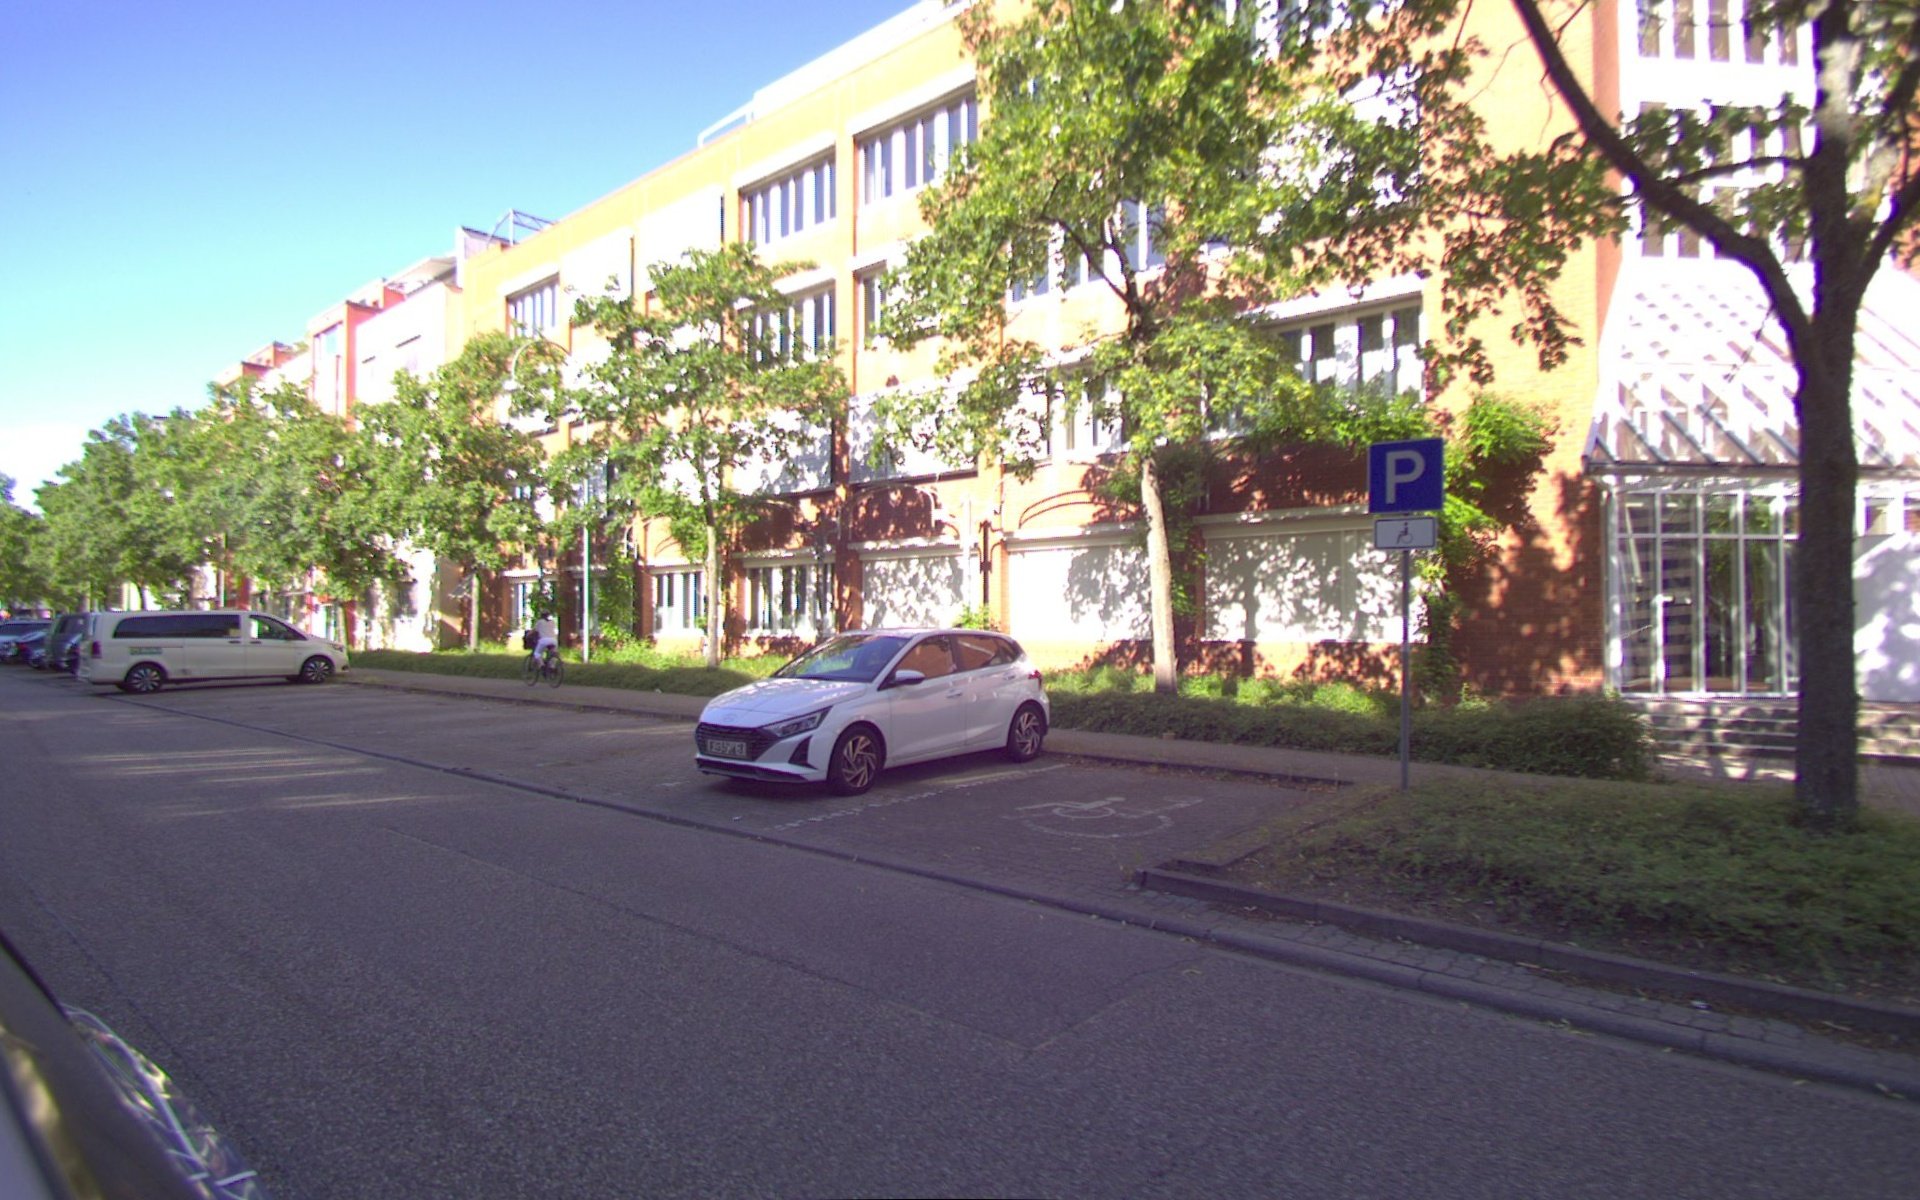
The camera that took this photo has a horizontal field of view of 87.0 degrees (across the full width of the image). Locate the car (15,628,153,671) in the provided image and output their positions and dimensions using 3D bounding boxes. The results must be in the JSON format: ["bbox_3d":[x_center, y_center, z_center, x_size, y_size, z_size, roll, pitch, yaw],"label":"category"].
[{"bbox_3d":[-32.710,1.802,37.847,1.723,1.438,3.689,-2,-1,39],"label":"car"}]

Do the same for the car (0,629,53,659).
[{"bbox_3d":[-48.066,2.201,50.649,1.873,1.458,3.692,-2,-1,37],"label":"car"}]

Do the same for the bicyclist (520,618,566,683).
[{"bbox_3d":[-9.021,1.080,21.895,0.913,1.363,0.598,-2,-3,44],"label":"bicyclist"}]

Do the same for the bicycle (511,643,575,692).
[{"bbox_3d":[-9.042,1.439,21.912,1.864,0.989,0.598,-2,-3,45],"label":"bicycle"}]

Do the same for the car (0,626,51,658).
[{"bbox_3d":[-49.970,2.179,52.554,1.857,1.586,3.854,-2,-1,39],"label":"car"}]

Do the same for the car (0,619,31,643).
[{"bbox_3d":[-80.473,2.582,83.935,1.983,2.000,4.744,-2,-2,17],"label":"car"}]

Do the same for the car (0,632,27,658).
[{"bbox_3d":[-55.493,2.591,57.217,1.738,1.434,3.852,-2,-1,40],"label":"car"}]

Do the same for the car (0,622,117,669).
[{"bbox_3d":[-36.795,1.805,40.753,4.271,1.730,1.963,0,-1,-45],"label":"car"}]

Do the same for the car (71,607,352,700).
[{"bbox_3d":[-17.928,1.185,24.493,1.942,1.982,5.202,-2,-1,42],"label":"car"}]

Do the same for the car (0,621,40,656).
[{"bbox_3d":[-51.921,2.081,54.113,1.785,1.825,3.852,-2,-1,40],"label":"car"}]

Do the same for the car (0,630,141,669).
[{"bbox_3d":[-34.820,1.889,39.421,1.755,1.369,4.278,-2,-1,39],"label":"car"}]

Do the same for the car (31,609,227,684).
[{"bbox_3d":[-25.611,1.360,31.302,2.082,2.106,4.440,-2,-1,42],"label":"car"}]

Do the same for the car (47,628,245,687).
[{"bbox_3d":[-23.590,1.605,29.432,1.942,1.489,4.274,-2,-1,42],"label":"car"}]

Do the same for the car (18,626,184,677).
[{"bbox_3d":[-29.068,1.711,34.340,1.724,1.539,4.090,-2,-1,40],"label":"car"}]

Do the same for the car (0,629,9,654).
[{"bbox_3d":[-59.270,2.514,59.967,1.740,1.434,4.215,-2,-1,44],"label":"car"}]

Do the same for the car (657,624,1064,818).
[{"bbox_3d":[-0.804,1.009,10.090,1.805,1.497,3.947,-2,-2,39],"label":"car"}]

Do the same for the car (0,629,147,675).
[{"bbox_3d":[-31.204,1.795,35.685,1.723,1.438,3.689,-2,-1,40],"label":"car"}]

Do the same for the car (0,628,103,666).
[{"bbox_3d":[-38.635,1.953,42.070,1.770,1.438,4.360,-2,-1,38],"label":"car"}]
